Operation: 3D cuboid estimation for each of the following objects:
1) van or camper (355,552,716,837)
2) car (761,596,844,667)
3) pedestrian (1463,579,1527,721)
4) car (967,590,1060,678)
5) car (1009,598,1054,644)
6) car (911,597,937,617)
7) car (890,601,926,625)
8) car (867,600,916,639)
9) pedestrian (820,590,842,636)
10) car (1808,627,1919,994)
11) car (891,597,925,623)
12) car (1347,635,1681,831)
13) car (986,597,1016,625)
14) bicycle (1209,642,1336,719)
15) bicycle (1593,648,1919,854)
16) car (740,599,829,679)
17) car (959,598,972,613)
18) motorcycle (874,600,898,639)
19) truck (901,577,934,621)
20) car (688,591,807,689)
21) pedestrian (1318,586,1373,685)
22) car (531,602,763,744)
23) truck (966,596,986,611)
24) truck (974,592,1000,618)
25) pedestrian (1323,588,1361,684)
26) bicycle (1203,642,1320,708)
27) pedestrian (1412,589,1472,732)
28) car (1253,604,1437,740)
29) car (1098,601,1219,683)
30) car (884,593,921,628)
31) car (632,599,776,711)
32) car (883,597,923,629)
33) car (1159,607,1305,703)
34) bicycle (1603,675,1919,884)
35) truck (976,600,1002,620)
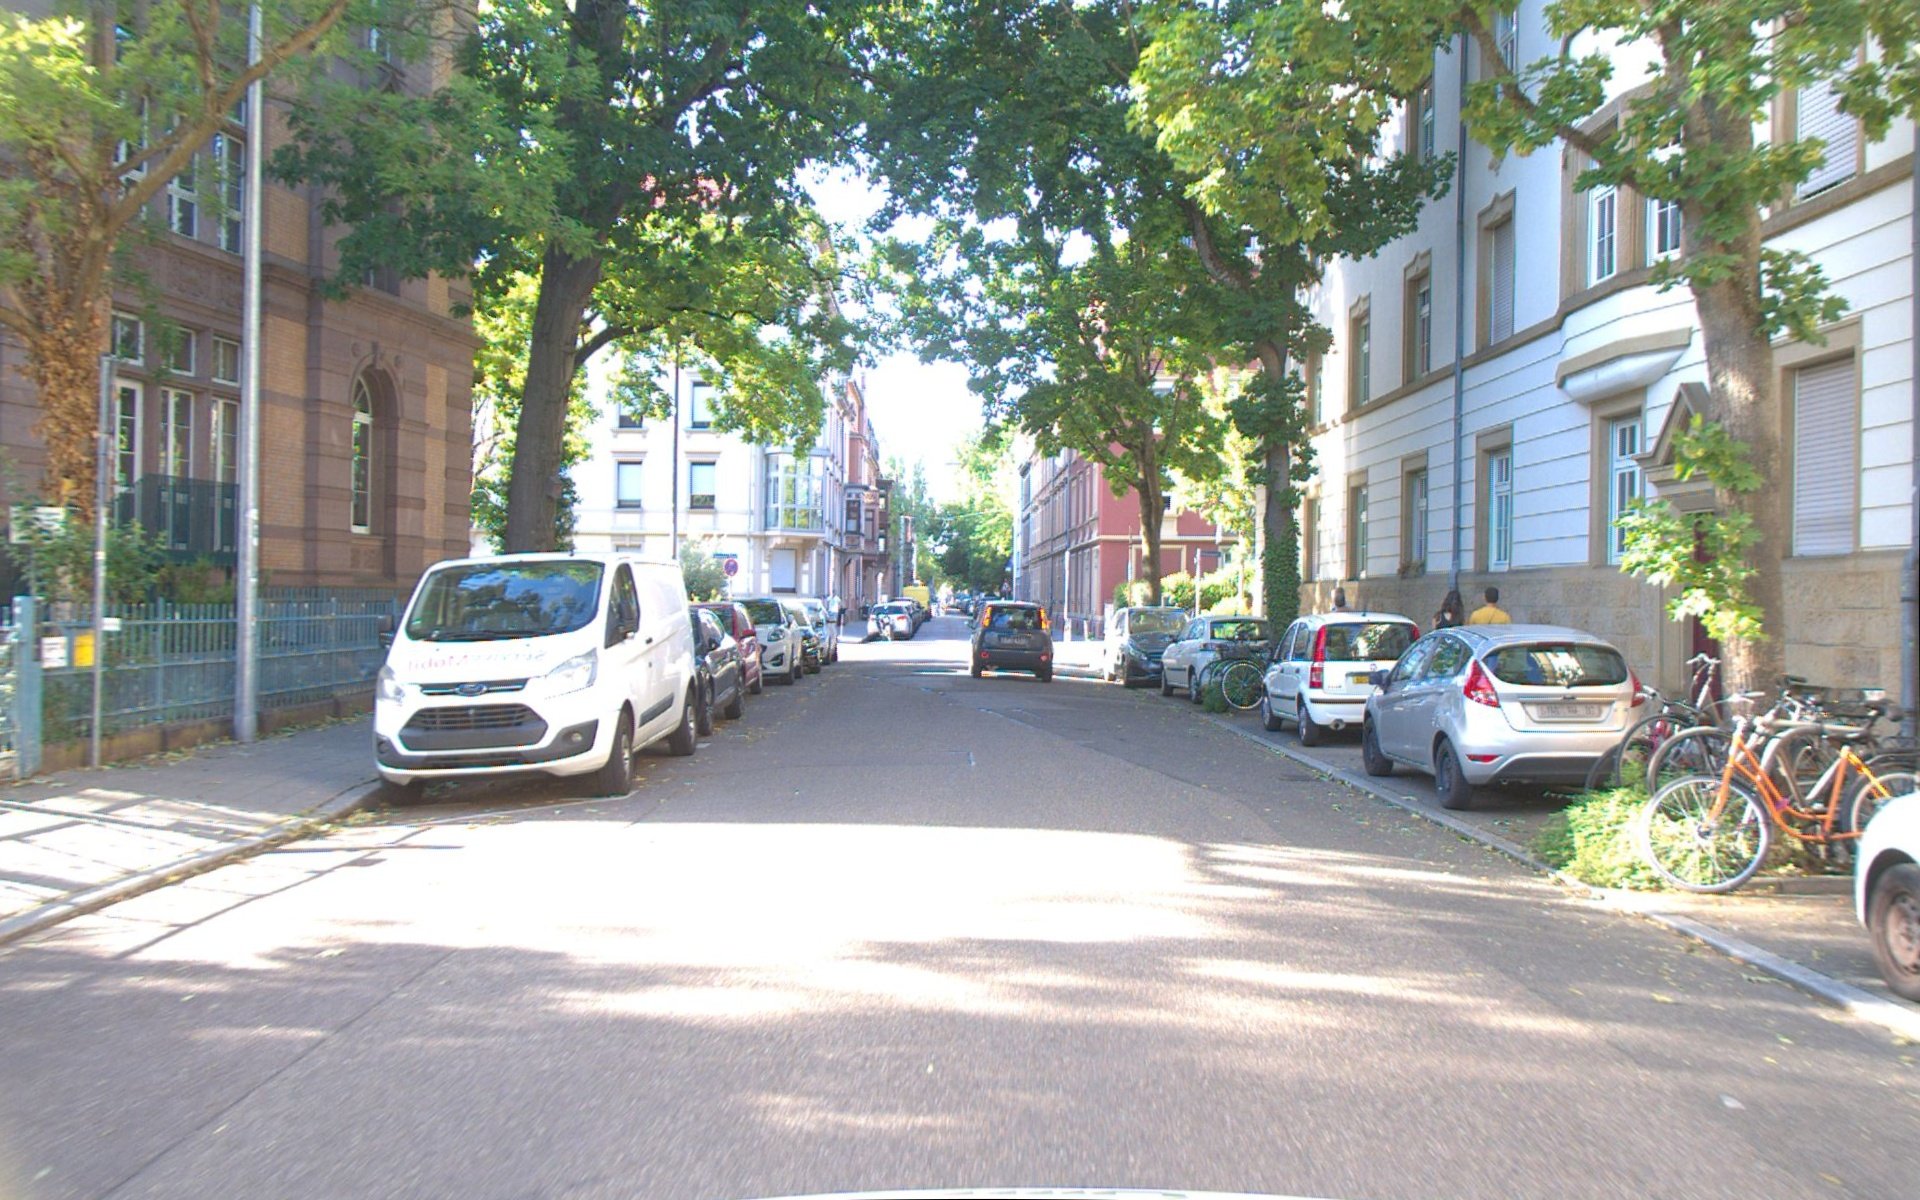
[{"bbox_3d":[-3.531,0.699,14.925,1.883,2.014,5.460,-3,0,-1],"label":"van or camper"},{"bbox_3d":[-3.820,0.738,40.683,1.662,1.577,3.918,-3,0,-1],"label":"car"},{"bbox_3d":[6.662,0.614,20.626,0.583,1.731,0.689,0,0,1],"label":"pedestrian"},{"bbox_3d":[1.022,0.637,33.273,1.600,1.577,3.263,2,1,-2],"label":"car"},{"bbox_3d":[2.785,0.806,64.990,1.629,1.698,3.757,2,0,1],"label":"car"},{"bbox_3d":[-2.963,0.577,135.273,1.921,1.505,3.925,-3,0,1],"label":"car"},{"bbox_3d":[-3.087,0.770,98.244,1.921,1.246,3.925,-3,0,1],"label":"car"},{"bbox_3d":[-2.761,0.763,67.395,1.760,1.457,3.925,-3,0,1],"label":"car"},{"bbox_3d":[-5.348,0.539,68.674,0.707,1.871,0.627,1,0,11],"label":"pedestrian"},{"bbox_3d":[4.778,0.879,5.904,1.564,1.514,3.748,0,0,0],"label":"car"},{"bbox_3d":[-3.312,0.617,105.896,1.921,1.505,3.925,-3,0,1],"label":"car"},{"bbox_3d":[4.749,1.064,14.802,1.589,1.418,4.157,0,0,0],"label":"car"},{"bbox_3d":[2.300,0.616,94.157,1.629,1.531,3.757,2,0,1],"label":"car"},{"bbox_3d":[4.576,1.168,24.257,1.733,1.057,0.606,1,0,0],"label":"bicycle"},{"bbox_3d":[5.314,0.978,10.949,1.929,1.251,0.760,-1,0,0],"label":"bicycle"},{"bbox_3d":[-3.764,0.788,35.583,1.713,1.500,4.458,-3,1,-6],"label":"car"},{"bbox_3d":[0.627,0.614,187.550,1.339,1.646,3.413,0,0,0],"label":"car"},{"bbox_3d":[-2.876,0.745,64.097,0.684,1.486,1.747,-1,0,-10],"label":"motorcycle"},{"bbox_3d":[-3.057,-0.073,120.009,2.028,2.977,5.068,-3,0,0],"label":"truck"},{"bbox_3d":[-3.868,0.691,30.677,1.788,1.581,4.131,-3,0,-3],"label":"car"},{"bbox_3d":[6.838,0.617,29.370,0.761,1.724,0.875,1,0,2],"label":"pedestrian"},{"bbox_3d":[-3.706,0.798,20.439,1.960,1.483,4.605,-2,0,0],"label":"car"},{"bbox_3d":[1.658,0.336,167.949,1.953,1.482,4.000,0,0,0],"label":"truck"},{"bbox_3d":[2.174,0.395,133.761,1.953,2.027,4.000,0,0,0],"label":"truck"},{"bbox_3d":[6.977,0.649,30.234,0.479,1.735,0.757,1,0,-1],"label":"pedestrian"},{"bbox_3d":[4.632,1.143,25.480,1.680,0.966,0.733,0,0,0],"label":"bicycle"},{"bbox_3d":[6.077,0.751,20.870,0.509,1.765,0.878,0,0,1],"label":"pedestrian"},{"bbox_3d":[4.732,0.828,20.737,1.489,1.537,3.543,0,0,0],"label":"car"},{"bbox_3d":[4.055,0.830,34.382,1.753,1.578,4.407,1,0,-3],"label":"car"},{"bbox_3d":[-3.053,0.548,88.956,1.738,1.728,3.925,-3,0,1],"label":"car"},{"bbox_3d":[-3.834,0.770,25.340,1.569,1.485,4.027,-2,0,-1],"label":"car"},{"bbox_3d":[-2.882,0.649,83.800,1.791,1.505,3.925,-3,0,1],"label":"car"},{"bbox_3d":[4.567,0.885,28.285,1.579,1.504,3.867,0,0,-5],"label":"car"},{"bbox_3d":[4.794,1.013,9.519,1.929,1.092,0.599,-1,0,0],"label":"bicycle"},{"bbox_3d":[2.249,0.735,128.380,1.953,1.482,4.000,0,0,0],"label":"truck"}]
